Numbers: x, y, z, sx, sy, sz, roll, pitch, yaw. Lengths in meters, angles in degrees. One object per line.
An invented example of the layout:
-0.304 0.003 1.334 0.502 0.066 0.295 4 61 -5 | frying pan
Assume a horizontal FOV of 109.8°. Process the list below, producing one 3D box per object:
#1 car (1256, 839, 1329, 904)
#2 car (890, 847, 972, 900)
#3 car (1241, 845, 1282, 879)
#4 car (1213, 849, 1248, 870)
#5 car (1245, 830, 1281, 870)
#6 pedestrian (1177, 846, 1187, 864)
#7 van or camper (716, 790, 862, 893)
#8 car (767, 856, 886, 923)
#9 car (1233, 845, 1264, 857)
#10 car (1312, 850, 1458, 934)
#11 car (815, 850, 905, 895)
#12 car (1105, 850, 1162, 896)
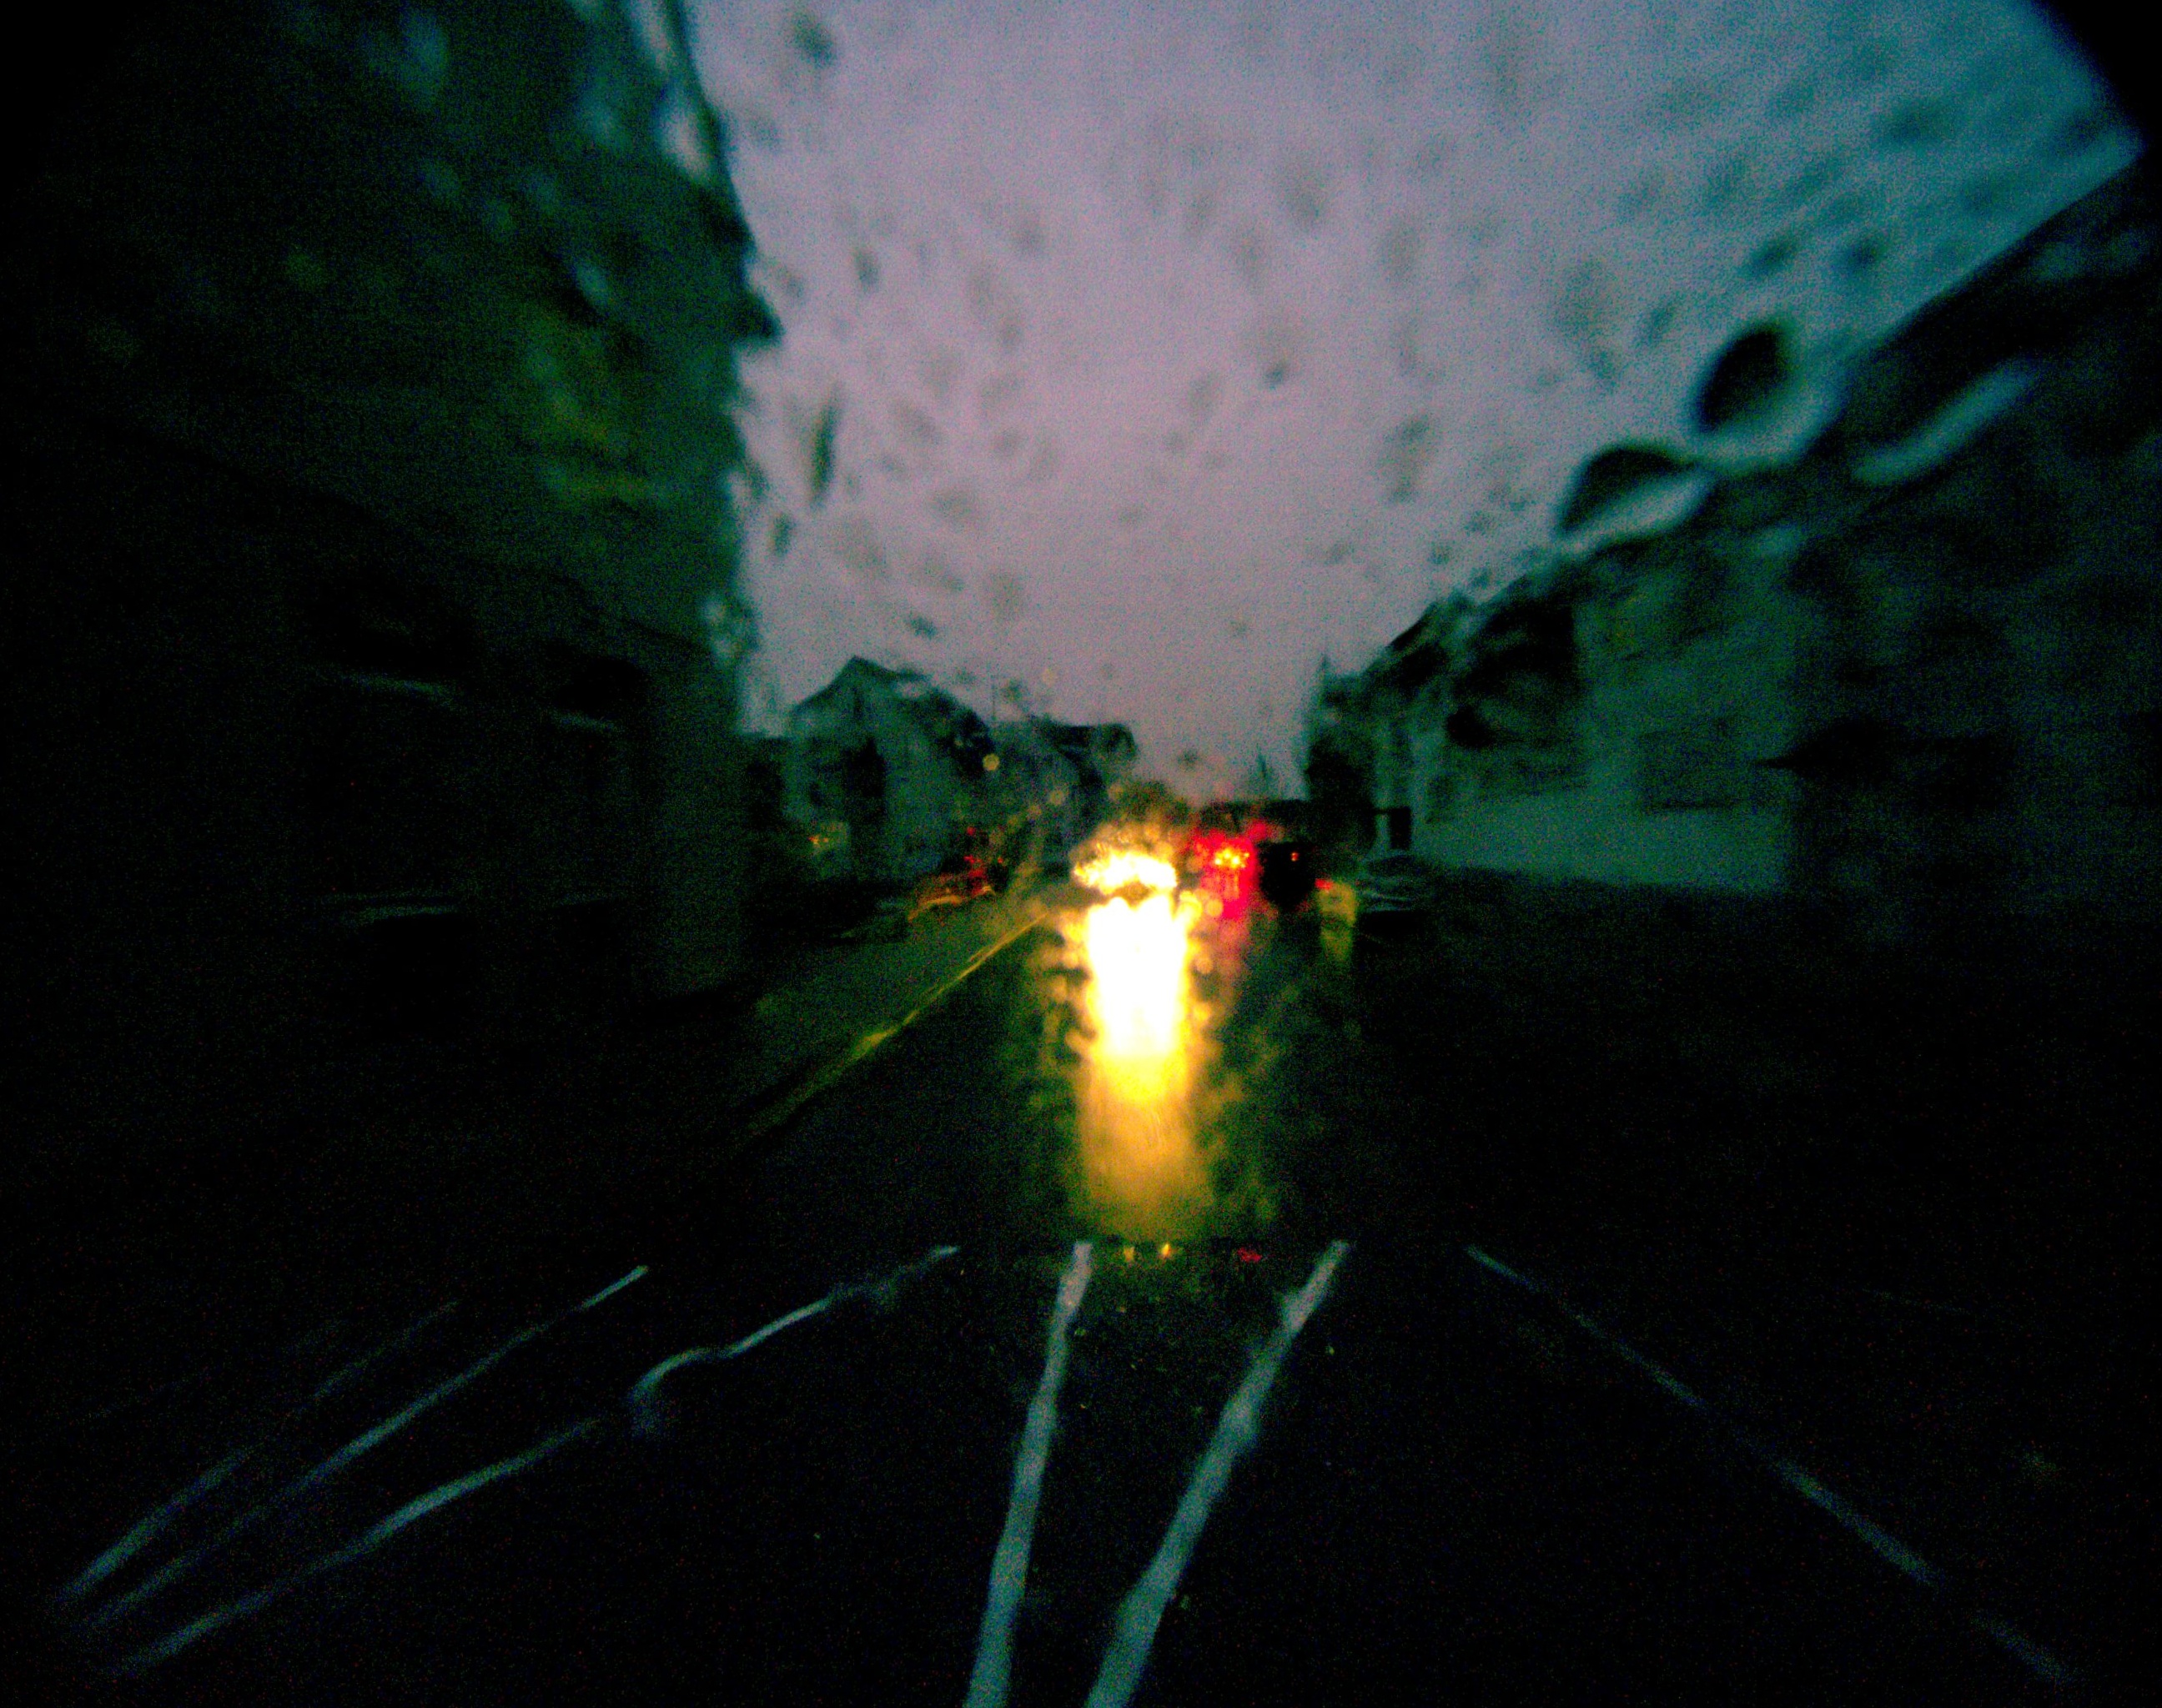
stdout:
7.017 0.544 25.655 1.883 1.889 4.838 -3 0 10 | car
-5.450 0.663 28.159 1.784 1.811 4.246 0 0 7 | car
9.856 0.401 41.234 1.937 1.660 4.346 -3 0 16 | car
11.702 0.395 59.345 1.995 1.491 4.005 -1 1 20 | car
13.014 -0.286 54.144 2.044 2.644 4.215 -3 0 17 | car
9.371 0.123 70.610 0.648 1.651 0.651 2 1 41 | pedestrian
-11.207 -0.436 30.007 2.437 3.489 7.125 2 0 4 | van or camper
-5.980 0.817 18.300 1.786 1.398 3.753 1 -1 -4 | car
24.823 -0.416 112.481 3.988 1.637 1.865 2 0 32 | car
6.289 0.703 16.269 1.798 1.448 4.396 -3 0 7 | car
-8.355 0.643 29.141 1.784 1.533 4.246 2 0 7 | car
2.104 0.670 29.393 1.877 1.622 4.002 -1 0 8 | car
